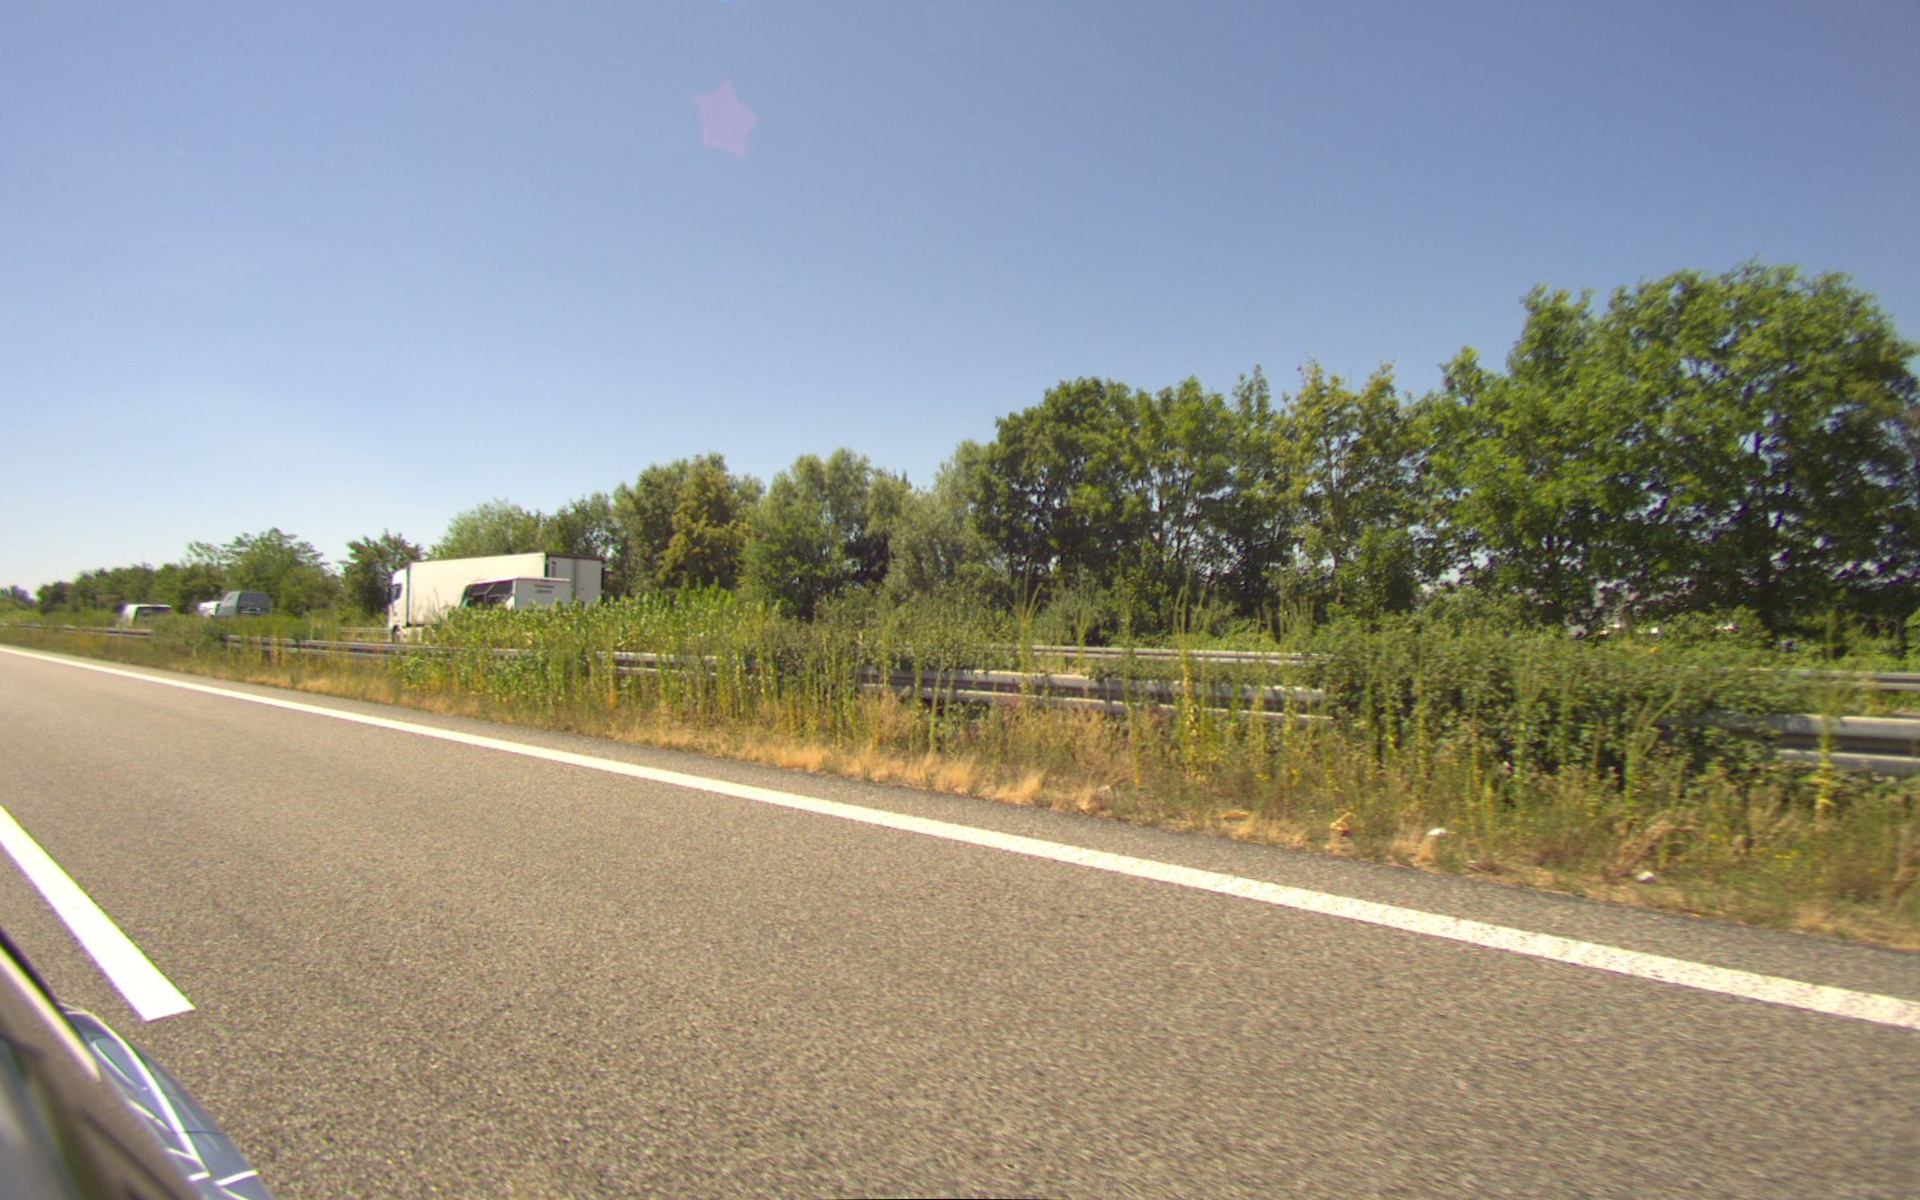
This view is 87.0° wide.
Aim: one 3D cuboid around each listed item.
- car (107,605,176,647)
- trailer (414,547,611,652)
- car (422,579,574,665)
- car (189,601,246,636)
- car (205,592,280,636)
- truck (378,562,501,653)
[{"bbox_3d":[-44.049,1.376,54.438,5.274,2.136,1.906,-1,-1,40],"label":"car"},{"bbox_3d":[-19.931,0.139,44.433,12.227,4.069,3.015,-2,-1,41],"label":"trailer"},{"bbox_3d":[-16.683,0.773,36.341,6.601,2.844,2.305,-1,-2,39],"label":"car"},{"bbox_3d":[-54.135,1.362,73.738,6.012,2.482,2.081,-1,-2,41],"label":"car"},{"bbox_3d":[-40.747,0.822,57.431,5.294,2.380,2.187,-1,-2,40],"label":"car"},{"bbox_3d":[-25.384,0.384,49.242,6.521,4.143,3.040,-2,0,41],"label":"truck"}]
